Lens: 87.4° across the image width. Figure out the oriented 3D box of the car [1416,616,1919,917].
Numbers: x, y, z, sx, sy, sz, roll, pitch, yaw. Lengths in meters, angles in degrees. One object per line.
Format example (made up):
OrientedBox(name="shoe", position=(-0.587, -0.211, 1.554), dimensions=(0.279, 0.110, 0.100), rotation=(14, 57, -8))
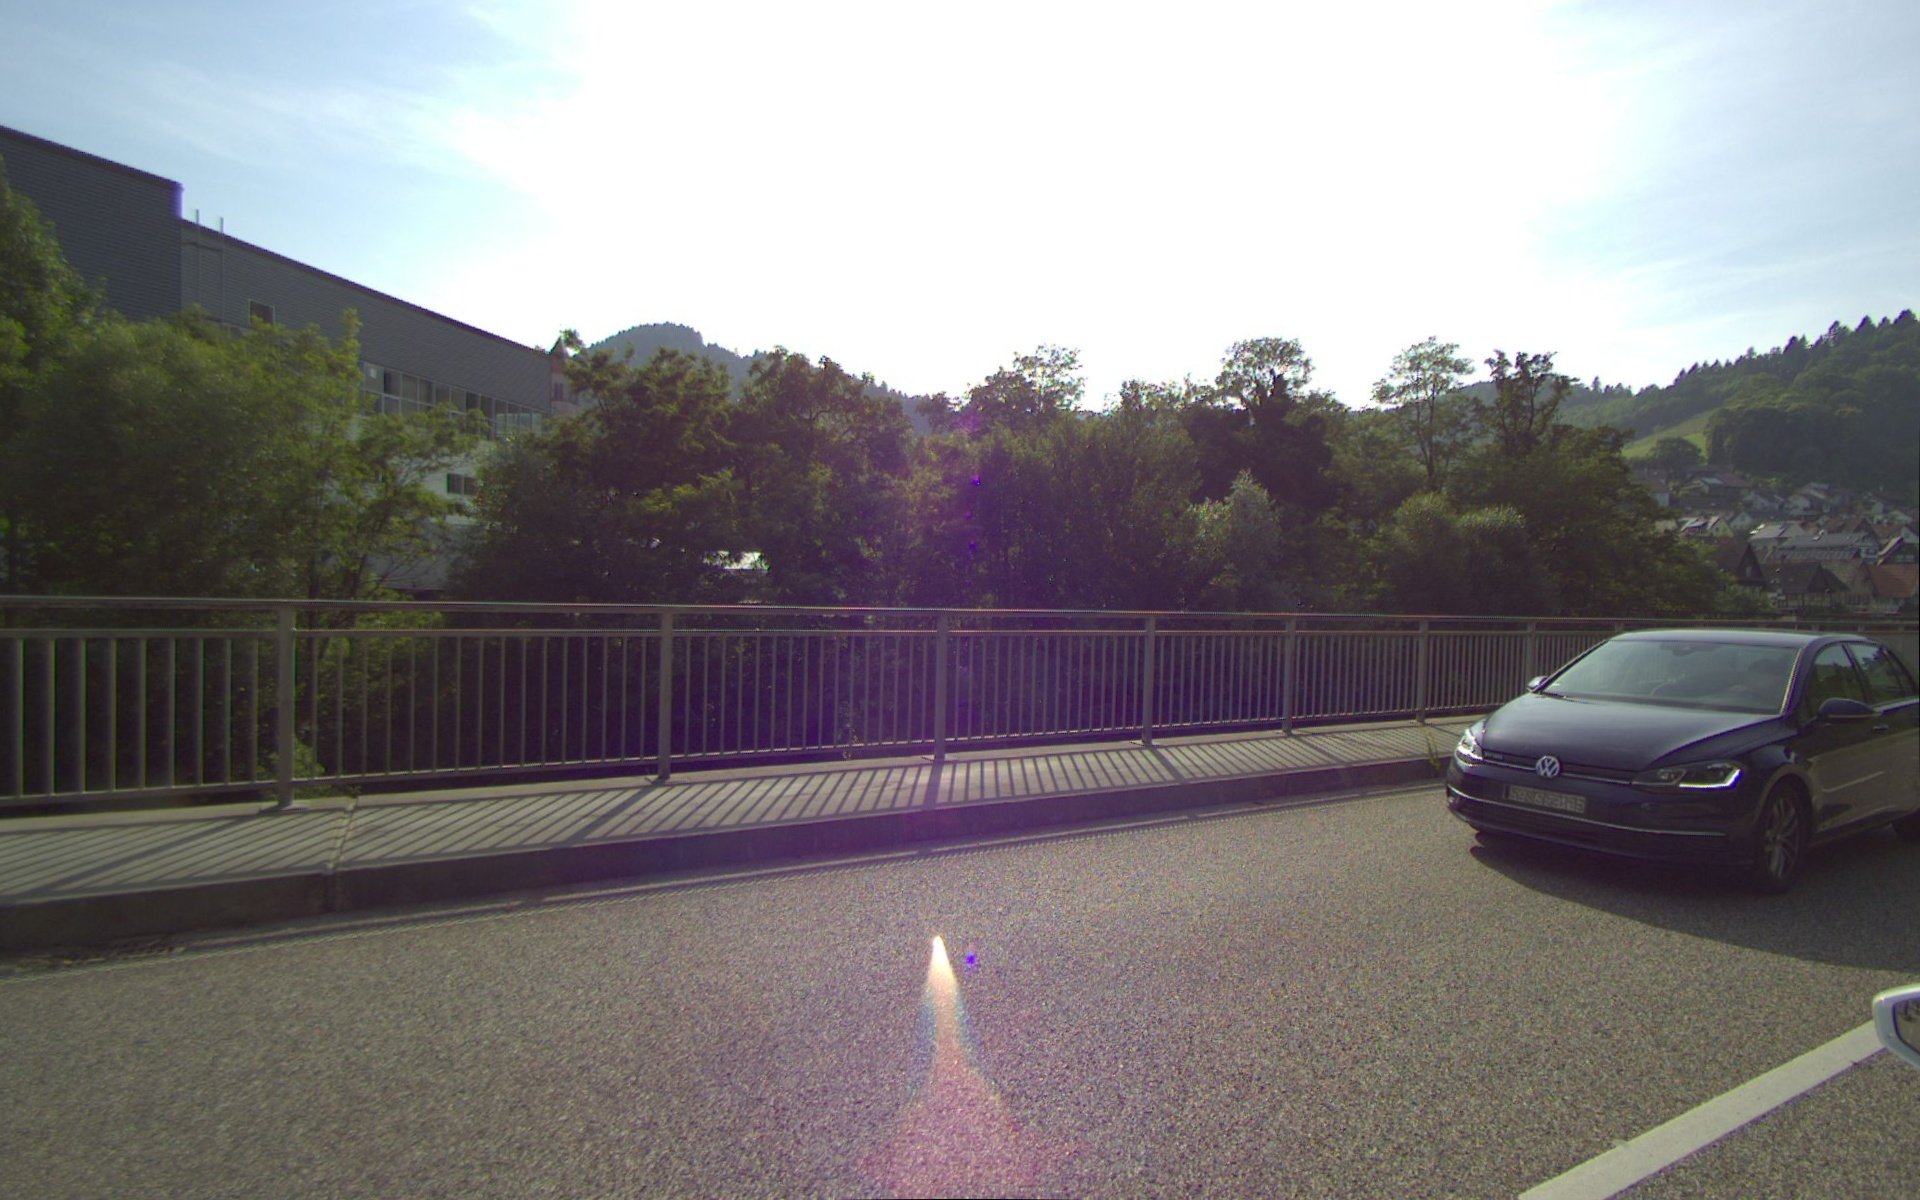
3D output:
OrientedBox(name="car", position=(5.078, 0.891, 6.783), dimensions=(4.029, 1.450, 1.694), rotation=(2, 0, -32))
